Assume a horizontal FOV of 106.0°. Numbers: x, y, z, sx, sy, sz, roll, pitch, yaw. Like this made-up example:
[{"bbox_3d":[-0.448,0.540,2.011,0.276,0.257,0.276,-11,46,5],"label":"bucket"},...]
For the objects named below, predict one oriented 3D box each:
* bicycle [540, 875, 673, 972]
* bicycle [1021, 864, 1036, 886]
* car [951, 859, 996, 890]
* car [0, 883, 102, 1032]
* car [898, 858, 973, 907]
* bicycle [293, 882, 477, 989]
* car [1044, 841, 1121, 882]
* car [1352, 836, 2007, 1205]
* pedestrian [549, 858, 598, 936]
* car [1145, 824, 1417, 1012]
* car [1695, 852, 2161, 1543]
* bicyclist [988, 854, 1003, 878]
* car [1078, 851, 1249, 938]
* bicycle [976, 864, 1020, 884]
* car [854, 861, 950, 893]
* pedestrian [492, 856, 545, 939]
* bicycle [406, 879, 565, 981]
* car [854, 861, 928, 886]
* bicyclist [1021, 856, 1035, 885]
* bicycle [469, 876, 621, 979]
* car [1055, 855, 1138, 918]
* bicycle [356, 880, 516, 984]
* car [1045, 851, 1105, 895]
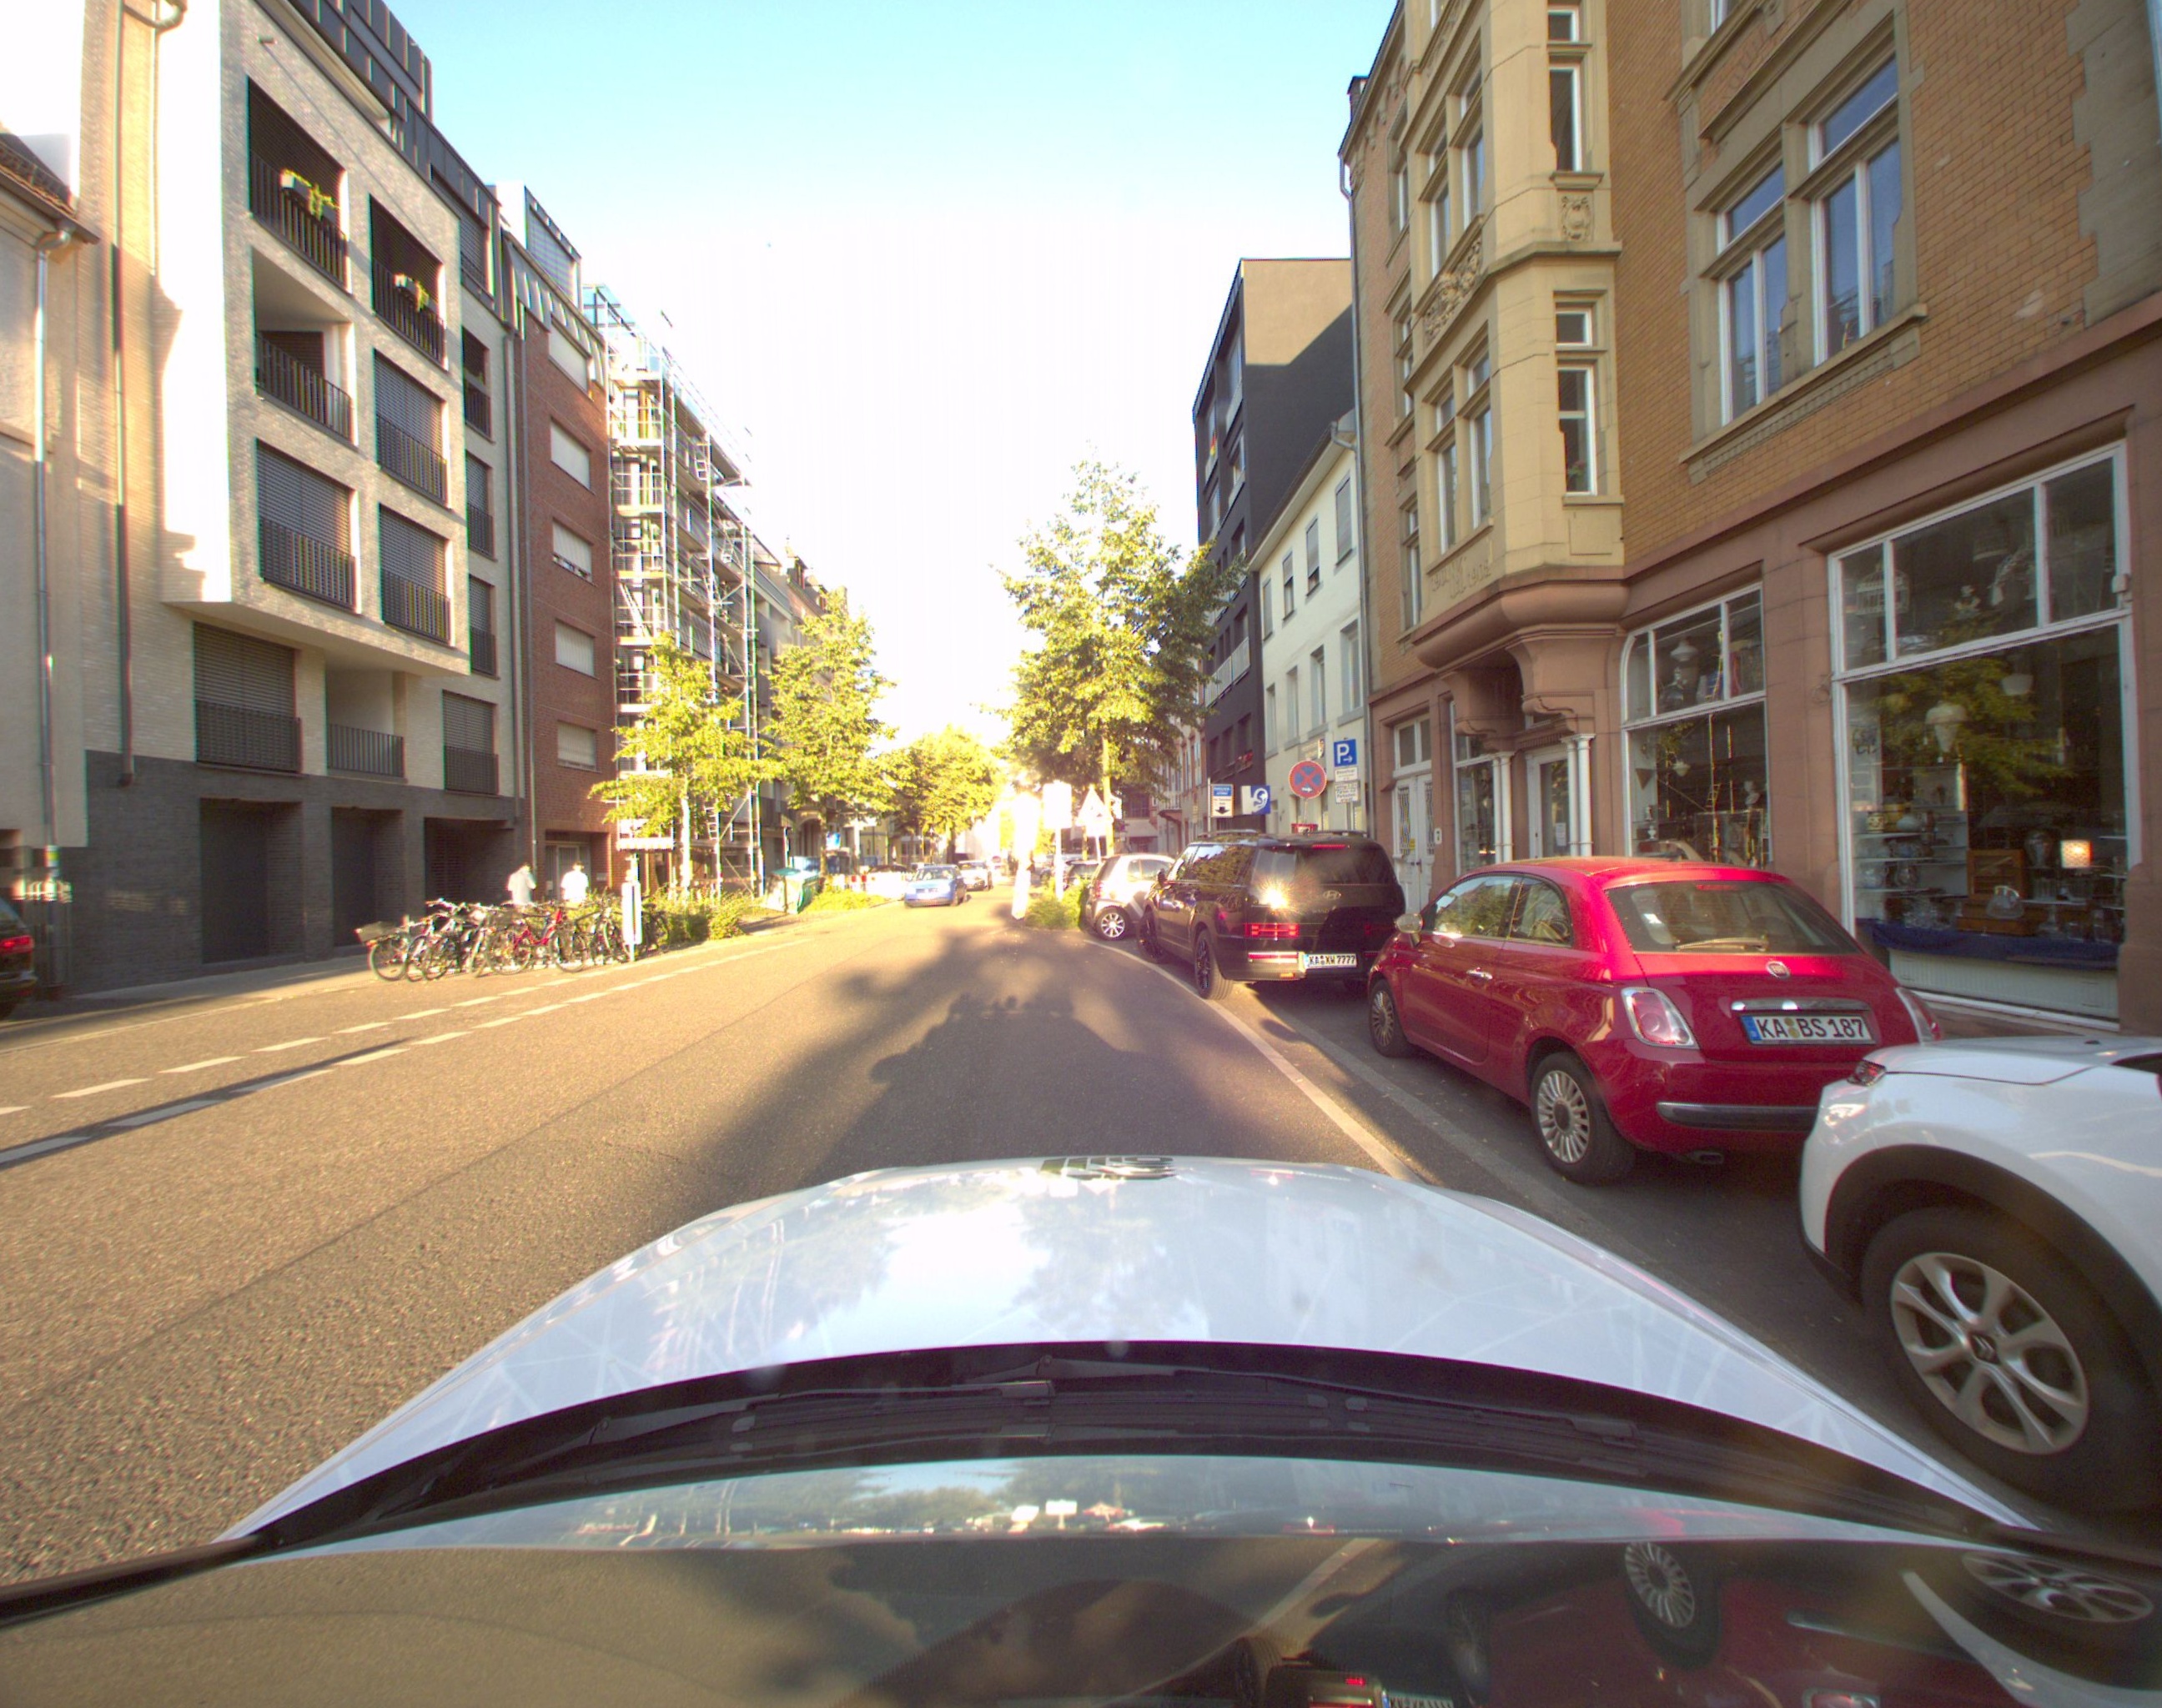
[{"bbox_3d":[-7.756,1.054,13.537,0.845,1.351,3.175,-2,0,-10],"label":"bicycle"},{"bbox_3d":[-3.115,1.210,48.034,0.779,1.204,2.017,-2,0,-4],"label":"bicycle"},{"bbox_3d":[-5.516,1.021,42.252,1.880,1.480,4.455,0,-1,-2],"label":"car"},{"bbox_3d":[-14.063,1.158,8.813,4.479,1.601,2.000,0,-1,0],"label":"car"},{"bbox_3d":[-4.940,0.981,28.212,1.833,1.441,4.328,-3,-2,-1],"label":"car"},{"bbox_3d":[-10.828,1.191,12.887,0.721,1.395,3.141,0,-1,-10],"label":"bicycle"},{"bbox_3d":[0.104,0.384,43.572,3.972,2.013,2.001,-2,0,2],"label":"car"},{"bbox_3d":[2.988,0.689,4.959,1.582,1.483,3.265,0,-1,0],"label":"car"},{"bbox_3d":[-11.558,0.956,18.556,0.717,1.740,0.736,0,-1,-10],"label":"pedestrian"},{"bbox_3d":[2.019,0.594,9.648,1.822,1.695,4.361,0,-1,-5],"label":"car"},{"bbox_3d":[3.000,0.672,0.935,1.662,1.378,3.800,0,-1,-2],"label":"car"},{"bbox_3d":[-6.271,0.905,59.408,1.003,1.696,0.781,-2,-1,-7],"label":"bicyclist"},{"bbox_3d":[1.495,0.725,15.333,2.965,1.536,1.430,0,-1,-7],"label":"car"},{"bbox_3d":[-6.060,1.463,59.470,3.175,1.351,0.845,-2,0,-9],"label":"bicycle"},{"bbox_3d":[-8.379,1.065,38.361,4.090,1.466,1.889,0,-1,-1],"label":"car"},{"bbox_3d":[-12.238,0.929,17.743,0.717,1.767,0.692,0,-1,-10],"label":"pedestrian"},{"bbox_3d":[-9.478,1.125,13.180,0.781,1.373,3.131,0,-1,-10],"label":"bicycle"},{"bbox_3d":[-11.672,1.204,50.267,4.090,1.466,1.889,0,-1,-1],"label":"car"},{"bbox_3d":[-3.141,0.977,48.033,0.779,1.696,1.005,-2,-1,-5],"label":"bicyclist"},{"bbox_3d":[-8.637,1.103,13.358,0.893,1.395,3.154,-1,0,-10],"label":"bicycle"},{"bbox_3d":[0.348,0.877,23.990,1.990,1.668,4.501,0,-1,-5],"label":"car"},{"bbox_3d":[-10.165,1.145,13.027,0.585,1.395,3.149,0,-1,-10],"label":"bicycle"},{"bbox_3d":[-0.361,0.846,37.291,2.262,1.766,4.501,4,-1,-5],"label":"car"}]
